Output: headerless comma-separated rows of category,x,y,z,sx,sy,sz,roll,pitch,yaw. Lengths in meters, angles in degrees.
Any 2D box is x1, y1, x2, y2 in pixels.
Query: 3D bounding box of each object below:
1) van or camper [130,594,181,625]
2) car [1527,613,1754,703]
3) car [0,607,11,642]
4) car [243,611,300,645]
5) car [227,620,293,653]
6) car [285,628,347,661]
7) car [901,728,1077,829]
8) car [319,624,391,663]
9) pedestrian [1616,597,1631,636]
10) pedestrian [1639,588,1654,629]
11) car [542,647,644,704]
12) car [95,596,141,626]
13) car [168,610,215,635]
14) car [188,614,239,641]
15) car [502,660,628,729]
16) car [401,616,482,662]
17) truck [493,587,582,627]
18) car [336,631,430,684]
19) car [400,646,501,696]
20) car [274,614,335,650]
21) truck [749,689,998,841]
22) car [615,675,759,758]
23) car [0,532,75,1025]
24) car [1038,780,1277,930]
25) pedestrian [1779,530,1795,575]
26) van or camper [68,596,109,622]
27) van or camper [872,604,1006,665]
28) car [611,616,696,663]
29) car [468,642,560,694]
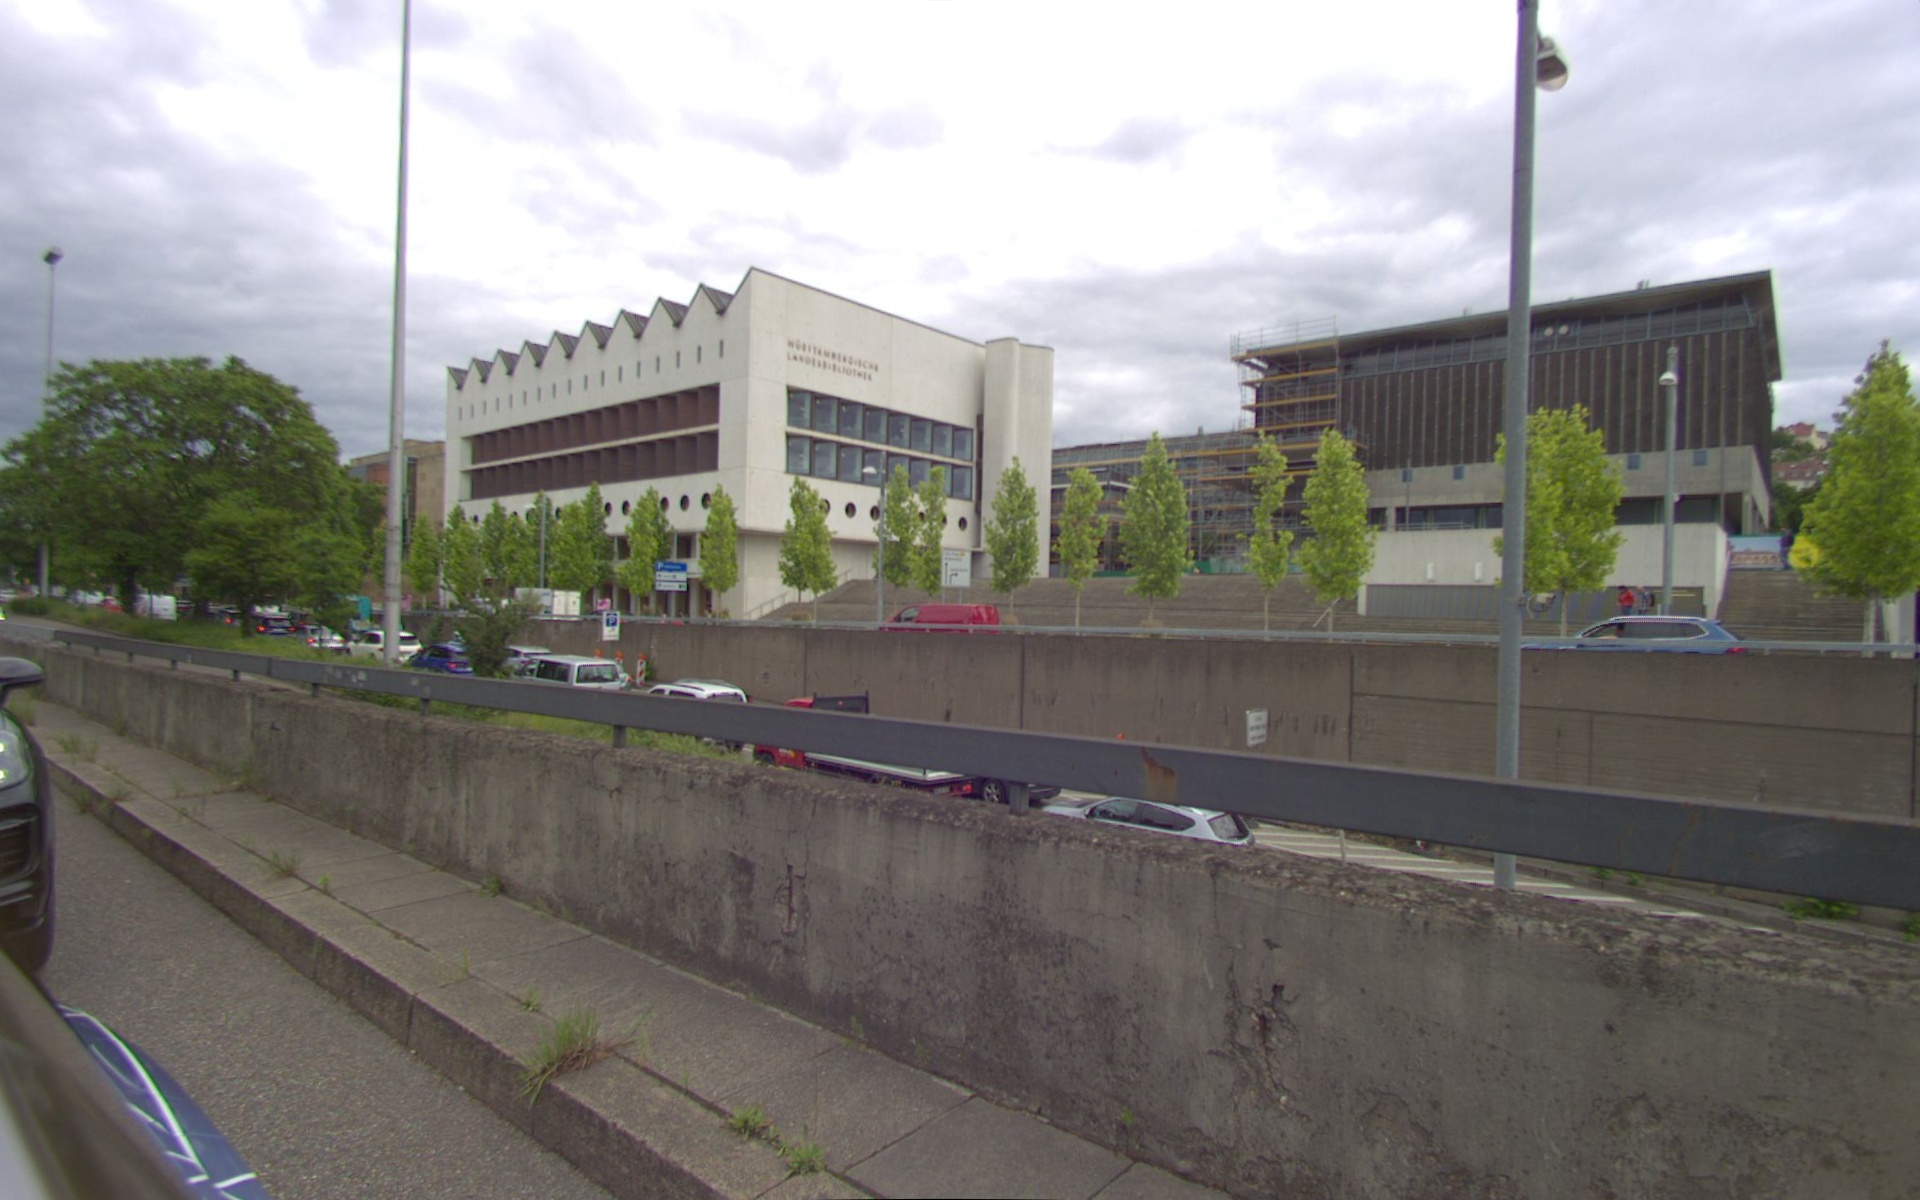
van or camper,-54.288,0.664,68.279,3.998,2.029,2.010,-2,-1,41
car,15.232,1.253,22.756,3.998,1.829,1.973,-2,-2,41
car,-56.871,1.437,58.916,3.998,2.029,1.973,-2,-2,41
car,-44.270,1.797,65.046,3.998,2.029,1.973,-2,-5,41
car,-37.112,1.924,53.590,3.998,1.672,1.973,-2,-1,41
car,-31.044,2.129,48.757,3.360,1.497,1.653,-1,-2,41
car,0.668,4.233,24.572,3.861,1.830,1.974,-1,-3,39
car,-32.710,2.313,54.670,4.653,2.029,1.973,-2,-1,41
pedestrian,25.799,0.638,39.375,0.461,1.533,0.377,-1,0,35
pedestrian,26.071,0.317,38.451,0.461,1.533,0.377,-1,0,35
car,-14.160,2.873,38.972,3.998,2.029,1.973,-2,-5,41
car,-62.993,0.828,75.699,3.998,2.028,1.973,-2,2,41
car,-46.872,1.358,61.732,3.360,1.497,1.653,-2,-1,41
car,-42.141,1.547,57.105,3.360,1.497,1.653,-2,-1,41
car,-12.967,3.033,33.131,4.330,2.029,1.973,-2,-5,41
car,-24.319,1.831,47.413,3.998,2.029,1.973,-2,-5,41
truck,-24.134,0.415,57.724,5.606,2.174,1.979,-1,-1,35
car,-24.865,2.445,43.546,4.849,2.148,1.973,-2,-5,41
car,-19.654,2.718,38.977,4.279,1.757,1.973,-1,-5,41
car,-39.233,1.920,60.536,3.998,2.029,1.973,-2,-5,41
truck,-2.154,3.619,23.491,5.976,2.711,2.294,-2,-1,42
car,-7.747,3.214,28.555,3.998,2.029,1.973,-2,-5,41
car,-5.546,0.655,4.443,4.677,1.690,1.913,-2,-1,41
car,3.541,4.519,18.501,3.925,1.829,1.771,-2,-1,40
pedestrian,35.596,-2.032,43.564,0.461,1.881,0.377,-1,0,35
van or camper,-70.872,0.755,82.309,3.998,2.029,2.010,-2,-1,41
van or camper,-0.786,1.230,36.170,4.551,2.029,1.974,-2,-2,38
car,-14.390,1.805,47.426,3.996,2.029,1.974,-1,0,40
car,-18.849,2.858,42.727,3.998,2.029,1.973,-2,-5,41
